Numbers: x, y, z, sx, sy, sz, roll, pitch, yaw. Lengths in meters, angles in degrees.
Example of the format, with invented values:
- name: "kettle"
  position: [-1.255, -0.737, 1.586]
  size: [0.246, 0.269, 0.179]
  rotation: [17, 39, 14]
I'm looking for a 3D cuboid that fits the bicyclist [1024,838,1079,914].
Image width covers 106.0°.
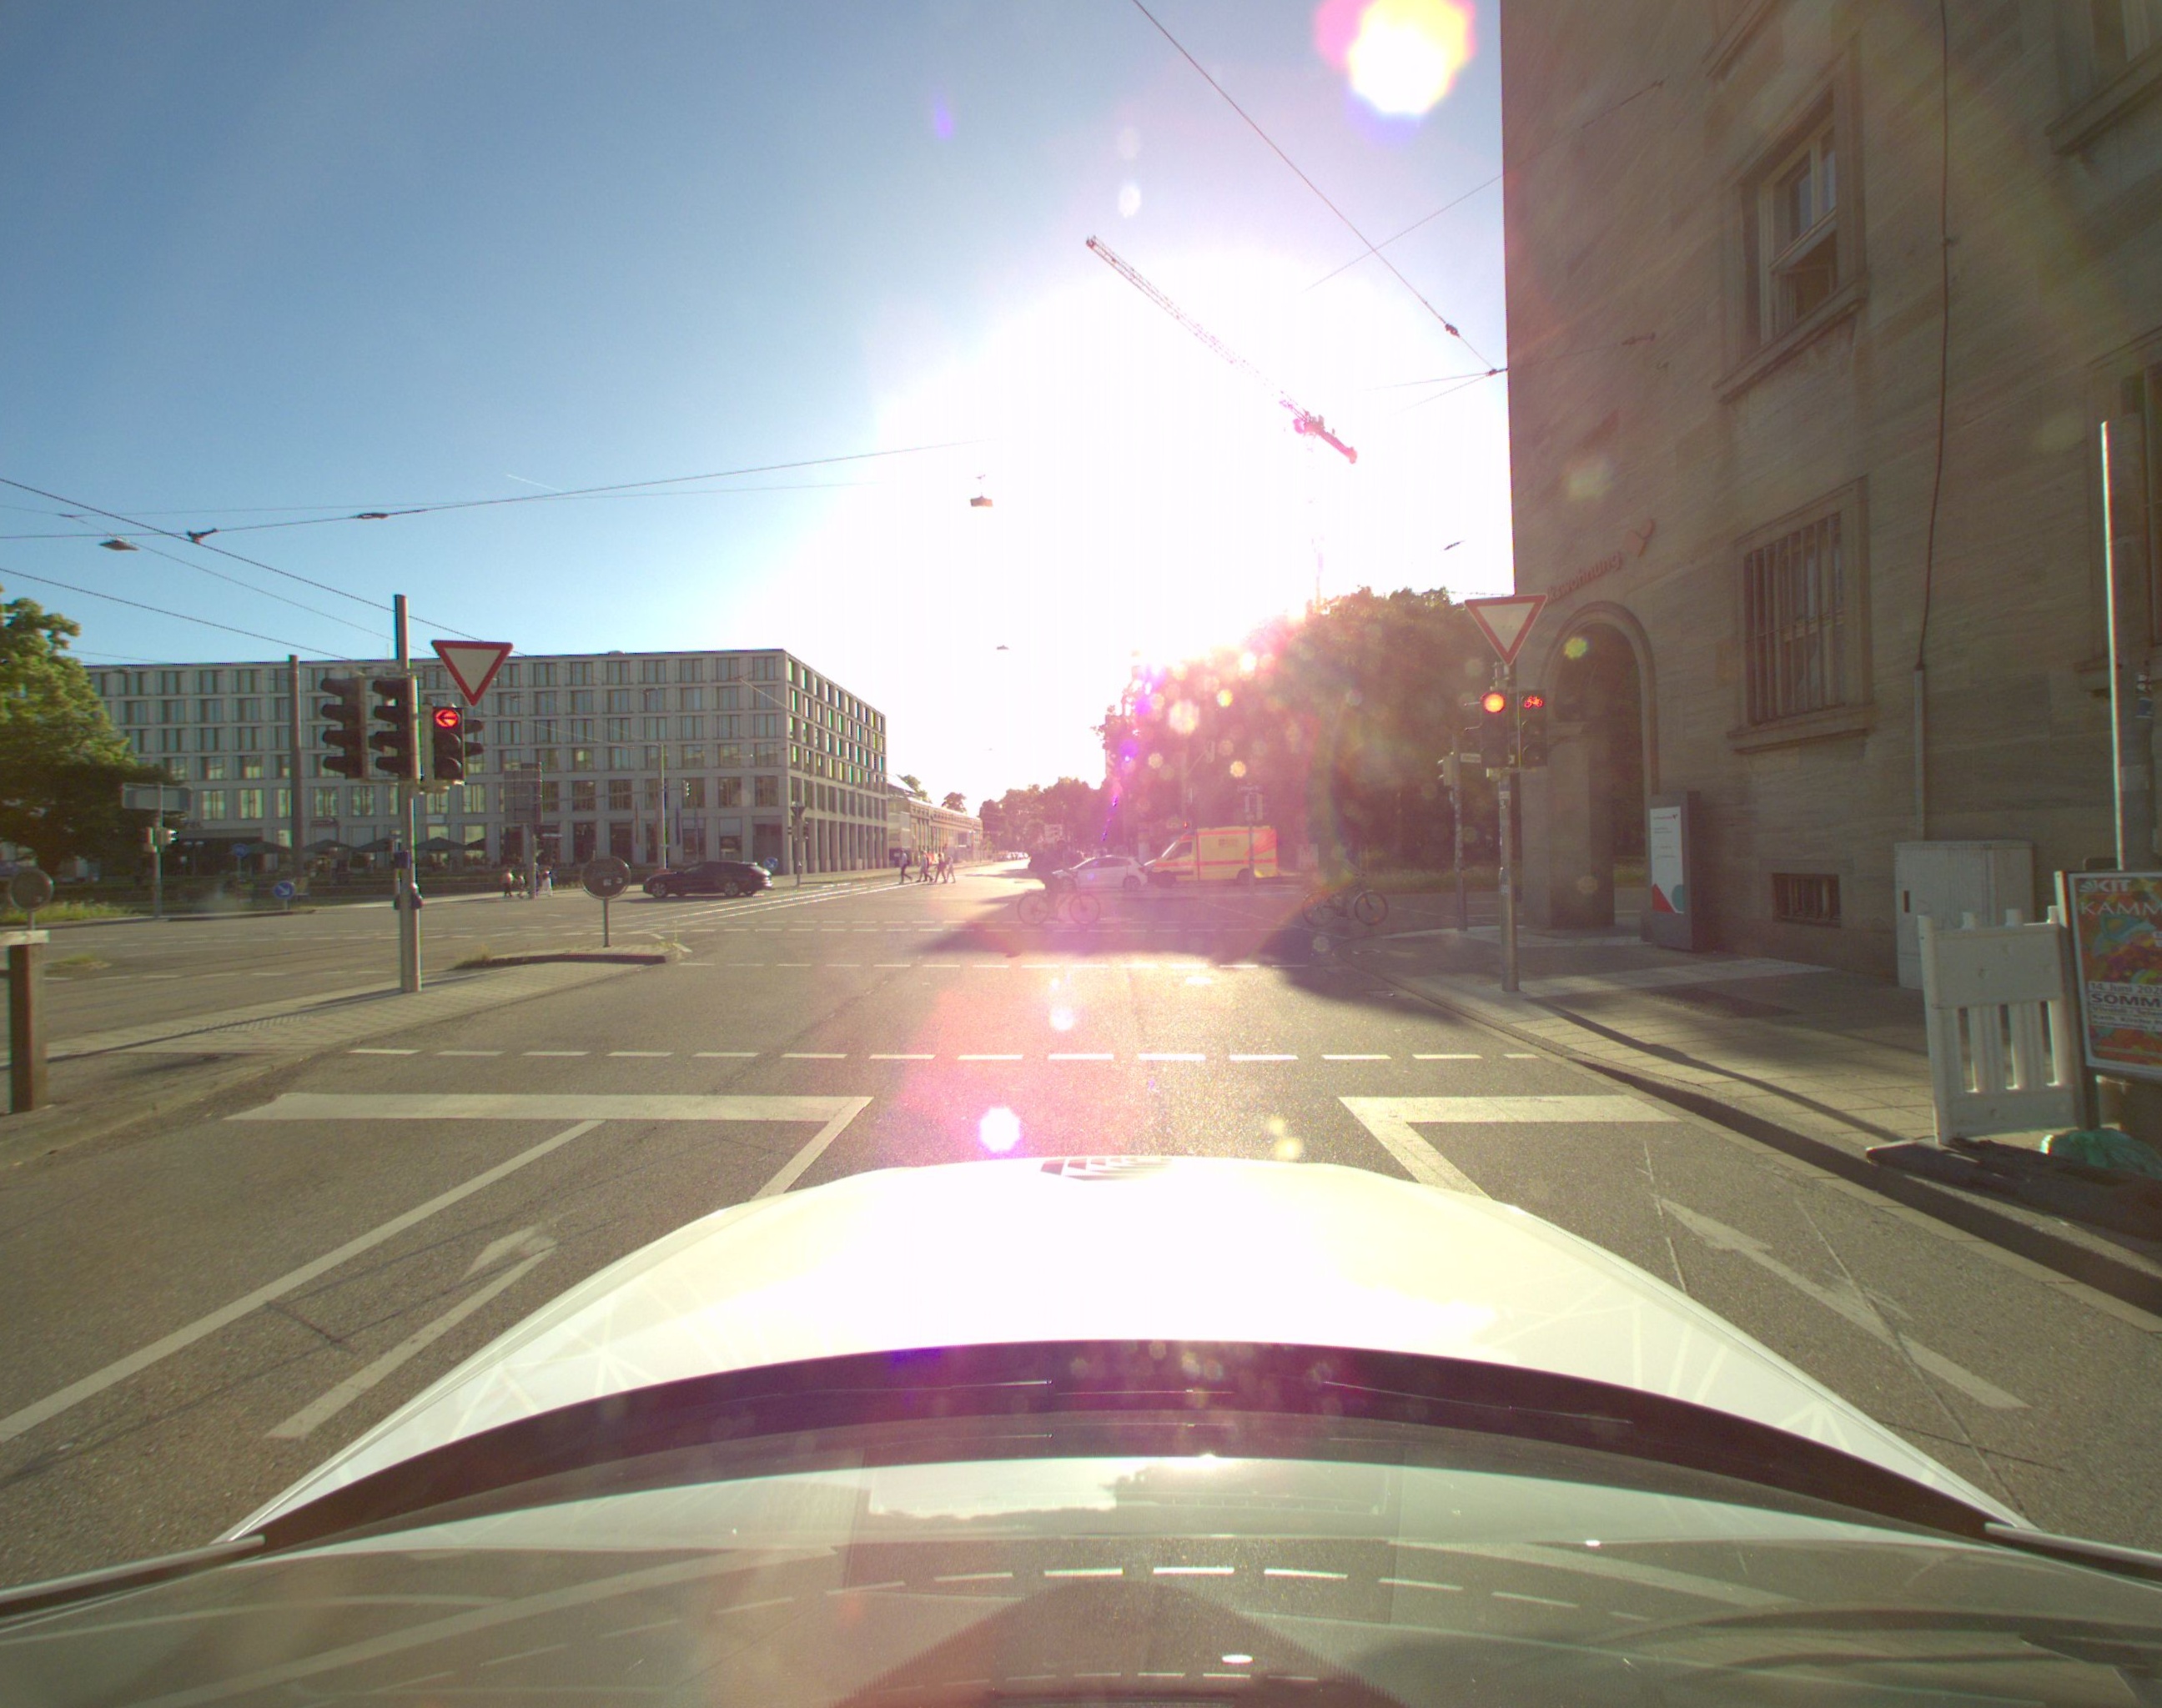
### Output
- name: "bicyclist"
  position: [-0.641, 0.450, 17.607]
  size: [1.123, 1.594, 0.764]
  rotation: [0, 1, -8]

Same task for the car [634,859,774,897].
- name: "car"
  position: [-15.247, 0.982, 33.128]
  size: [4.721, 1.415, 1.999]
  rotation: [-1, -2, -1]

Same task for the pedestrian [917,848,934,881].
- name: "pedestrian"
  position: [-8.734, 0.587, 45.773]
  size: [0.735, 1.803, 0.717]
  rotation: [-2, 0, 7]

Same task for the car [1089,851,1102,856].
- name: "car"
  position: [3.709, -0.191, 211.395]
  size: [3.208, 1.263, 1.373]
  rotation: [0, -1, -1]

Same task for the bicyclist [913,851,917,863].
- name: "bicyclist"
  position: [-26.705, 0.498, 131.011]
  size: [0.569, 2.024, 0.762]
  rotation: [-2, 0, 0]

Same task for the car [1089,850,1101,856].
- name: "car"
  position: [3.643, -0.332, 213.690]
  size: [3.207, 1.588, 1.445]
  rotation: [0, -1, -3]

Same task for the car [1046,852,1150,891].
- name: "car"
  position: [0.675, 0.706, 32.925]
  size: [4.030, 1.434, 1.631]
  rotation: [-2, -1, -1]

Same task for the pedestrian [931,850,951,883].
- name: "pedestrian"
  position: [-7.691, 0.667, 44.845]
  size: [0.865, 1.803, 0.665]
  rotation: [-2, 0, 7]

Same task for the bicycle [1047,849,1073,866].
- name: "bicycle"
  position: [-2.083, 0.355, 81.704]
  size: [2.538, 1.743, 1.038]
  rotation: [0, -1, 1]

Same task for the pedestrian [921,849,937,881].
- name: "pedestrian"
  position: [-8.665, 0.612, 46.544]
  size: [0.735, 1.803, 0.533]
  rotation: [-2, 0, 7]

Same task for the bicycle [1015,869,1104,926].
- name: "bicycle"
  position: [-0.484, 0.930, 17.643]
  size: [1.872, 1.158, 0.764]
  rotation: [0, 1, -8]

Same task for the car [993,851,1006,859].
- name: "car"
  position: [-15.711, 0.203, 156.912]
  size: [1.888, 1.607, 4.499]
  rotation: [-2, 0, 0]

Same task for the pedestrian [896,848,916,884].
- name: "pedestrian"
  position: [-9.486, 0.630, 44.138]
  size: [0.797, 1.918, 0.638]
  rotation: [-2, 0, 7]

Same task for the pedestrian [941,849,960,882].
- name: "pedestrian"
  position: [-7.341, 0.639, 45.768]
  size: [0.865, 1.803, 0.533]
  rotation: [-2, 0, 7]

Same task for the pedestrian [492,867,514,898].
- name: "pedestrian"
  position: [-31.629, 1.545, 44.550]
  size: [0.690, 1.644, 0.623]
  rotation: [-2, 0, 9]

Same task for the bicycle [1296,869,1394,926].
- name: "bicycle"
  position: [5.418, 0.890, 16.791]
  size: [1.804, 1.085, 0.768]
  rotation: [-1, 2, 5]

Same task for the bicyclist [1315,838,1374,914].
- name: "bicyclist"
  position: [5.414, 0.437, 16.783]
  size: [0.997, 1.512, 0.768]
  rotation: [-1, 2, 5]

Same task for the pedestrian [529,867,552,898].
- name: "pedestrian"
  position: [-29.707, 1.567, 44.770]
  size: [0.790, 1.644, 0.621]
  rotation: [-2, 0, -3]

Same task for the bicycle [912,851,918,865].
- name: "bicycle"
  position: [-26.699, 0.599, 131.106]
  size: [0.569, 2.296, 1.422]
  rotation: [-2, 0, 0]

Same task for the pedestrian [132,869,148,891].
- name: "pedestrian"
  position: [-71.720, 1.952, 62.041]
  size: [0.538, 1.669, 0.561]
  rotation: [0, -1, -2]

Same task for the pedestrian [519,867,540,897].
- name: "pedestrian"
  position: [-30.880, 1.550, 45.609]
  size: [0.692, 1.644, 0.621]
  rotation: [-2, 0, -3]

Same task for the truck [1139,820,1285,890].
- name: "truck"
  position: [6.055, 0.030, 38.328]
  size: [6.444, 3.016, 2.726]
  rotation: [-1, 0, 1]
